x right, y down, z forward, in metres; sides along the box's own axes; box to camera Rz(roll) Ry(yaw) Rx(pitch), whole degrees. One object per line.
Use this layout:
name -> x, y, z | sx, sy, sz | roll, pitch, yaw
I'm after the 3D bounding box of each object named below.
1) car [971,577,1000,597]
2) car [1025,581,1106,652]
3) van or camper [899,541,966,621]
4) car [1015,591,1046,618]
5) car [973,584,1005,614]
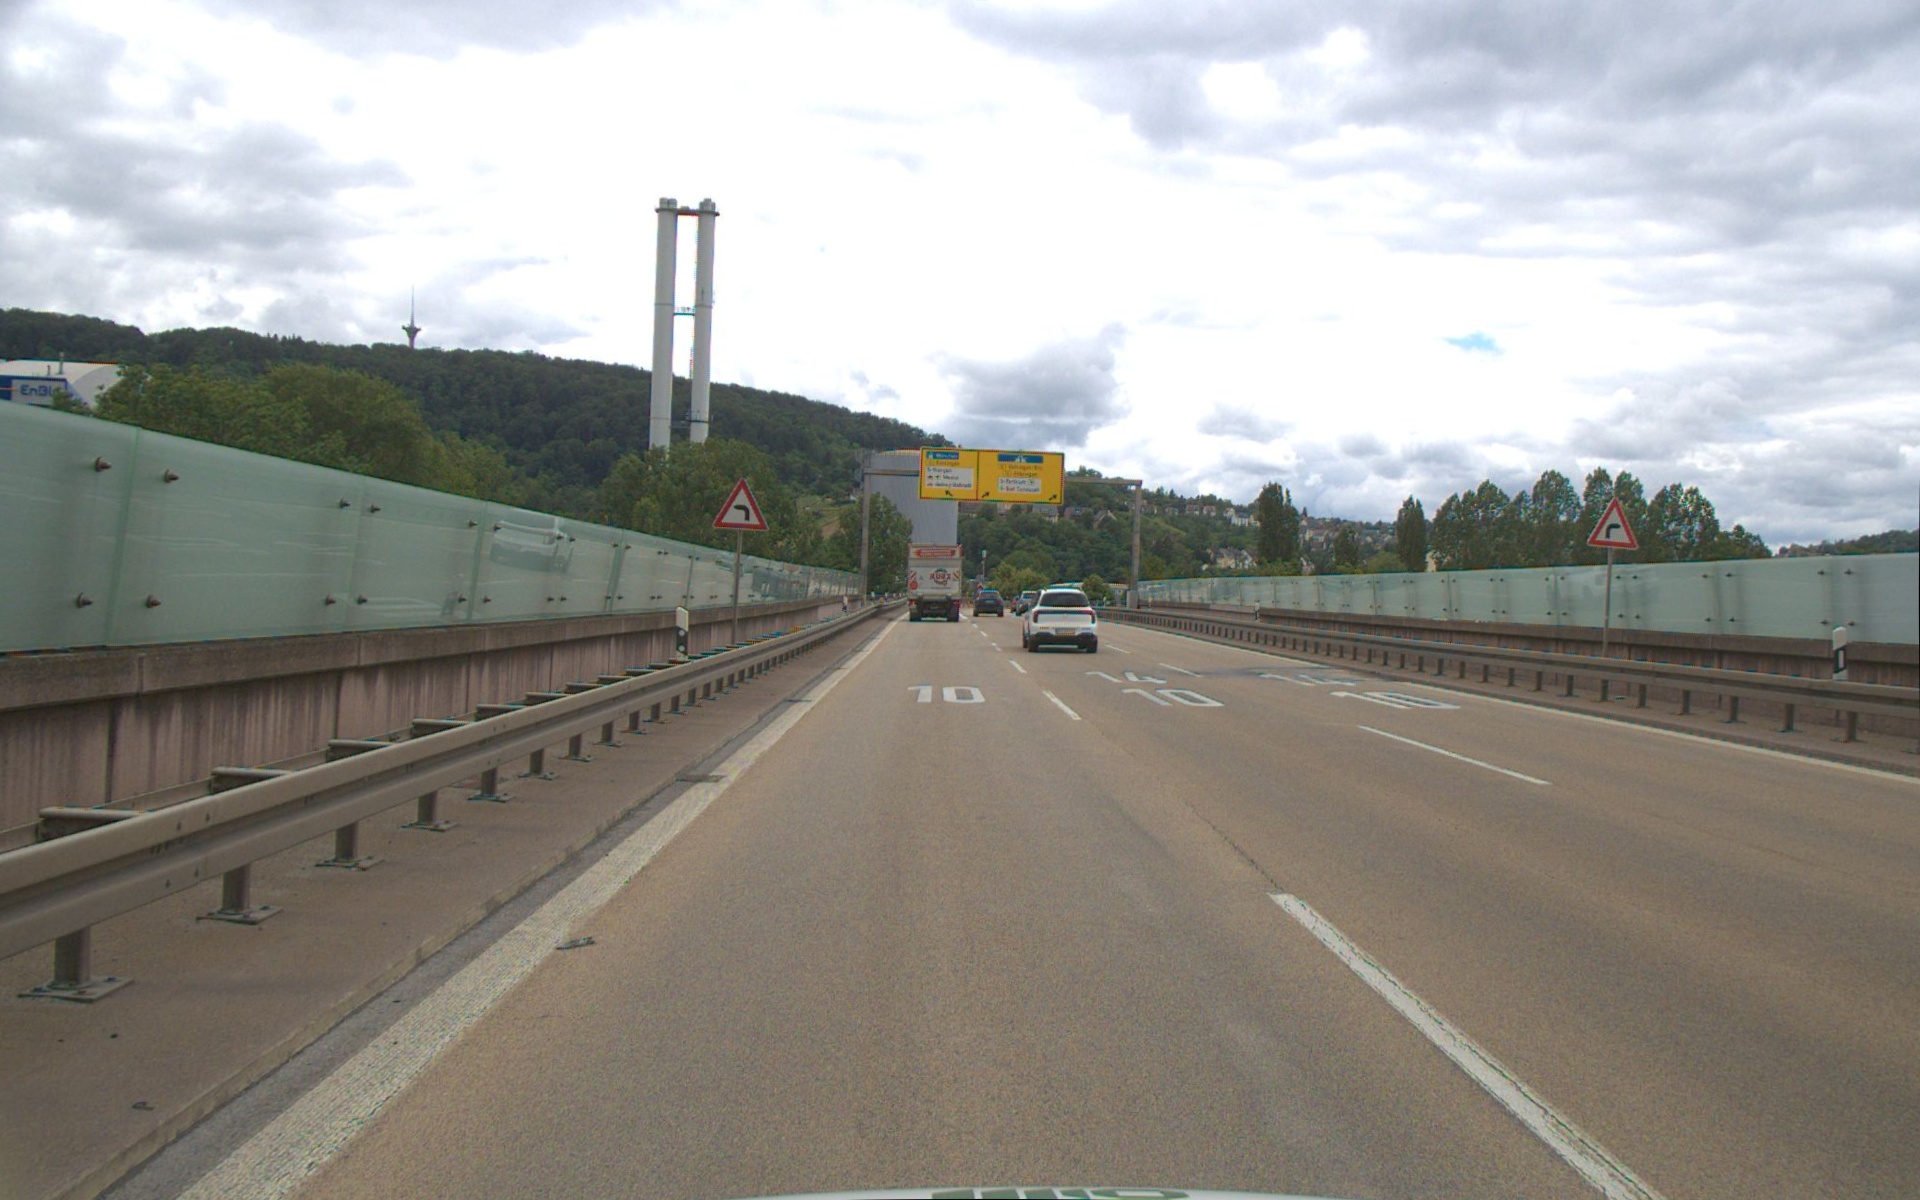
car -> 2.695, -1.330, 172.461 | 2.420, 2.014, 5.164 | 0, 0, 8
car -> 2.816, 0.417, 44.979 | 1.884, 1.816, 4.113 | 1, 0, 0
van or camper -> -1.258, -0.861, 80.353 | 3.058, 3.642, 8.550 | 0, 0, 0
car -> 4.814, 0.304, 113.111 | 1.884, 1.816, 4.113 | 1, 0, -1
car -> 1.819, -0.083, 105.405 | 1.884, 1.816, 4.113 | 1, 0, 0
